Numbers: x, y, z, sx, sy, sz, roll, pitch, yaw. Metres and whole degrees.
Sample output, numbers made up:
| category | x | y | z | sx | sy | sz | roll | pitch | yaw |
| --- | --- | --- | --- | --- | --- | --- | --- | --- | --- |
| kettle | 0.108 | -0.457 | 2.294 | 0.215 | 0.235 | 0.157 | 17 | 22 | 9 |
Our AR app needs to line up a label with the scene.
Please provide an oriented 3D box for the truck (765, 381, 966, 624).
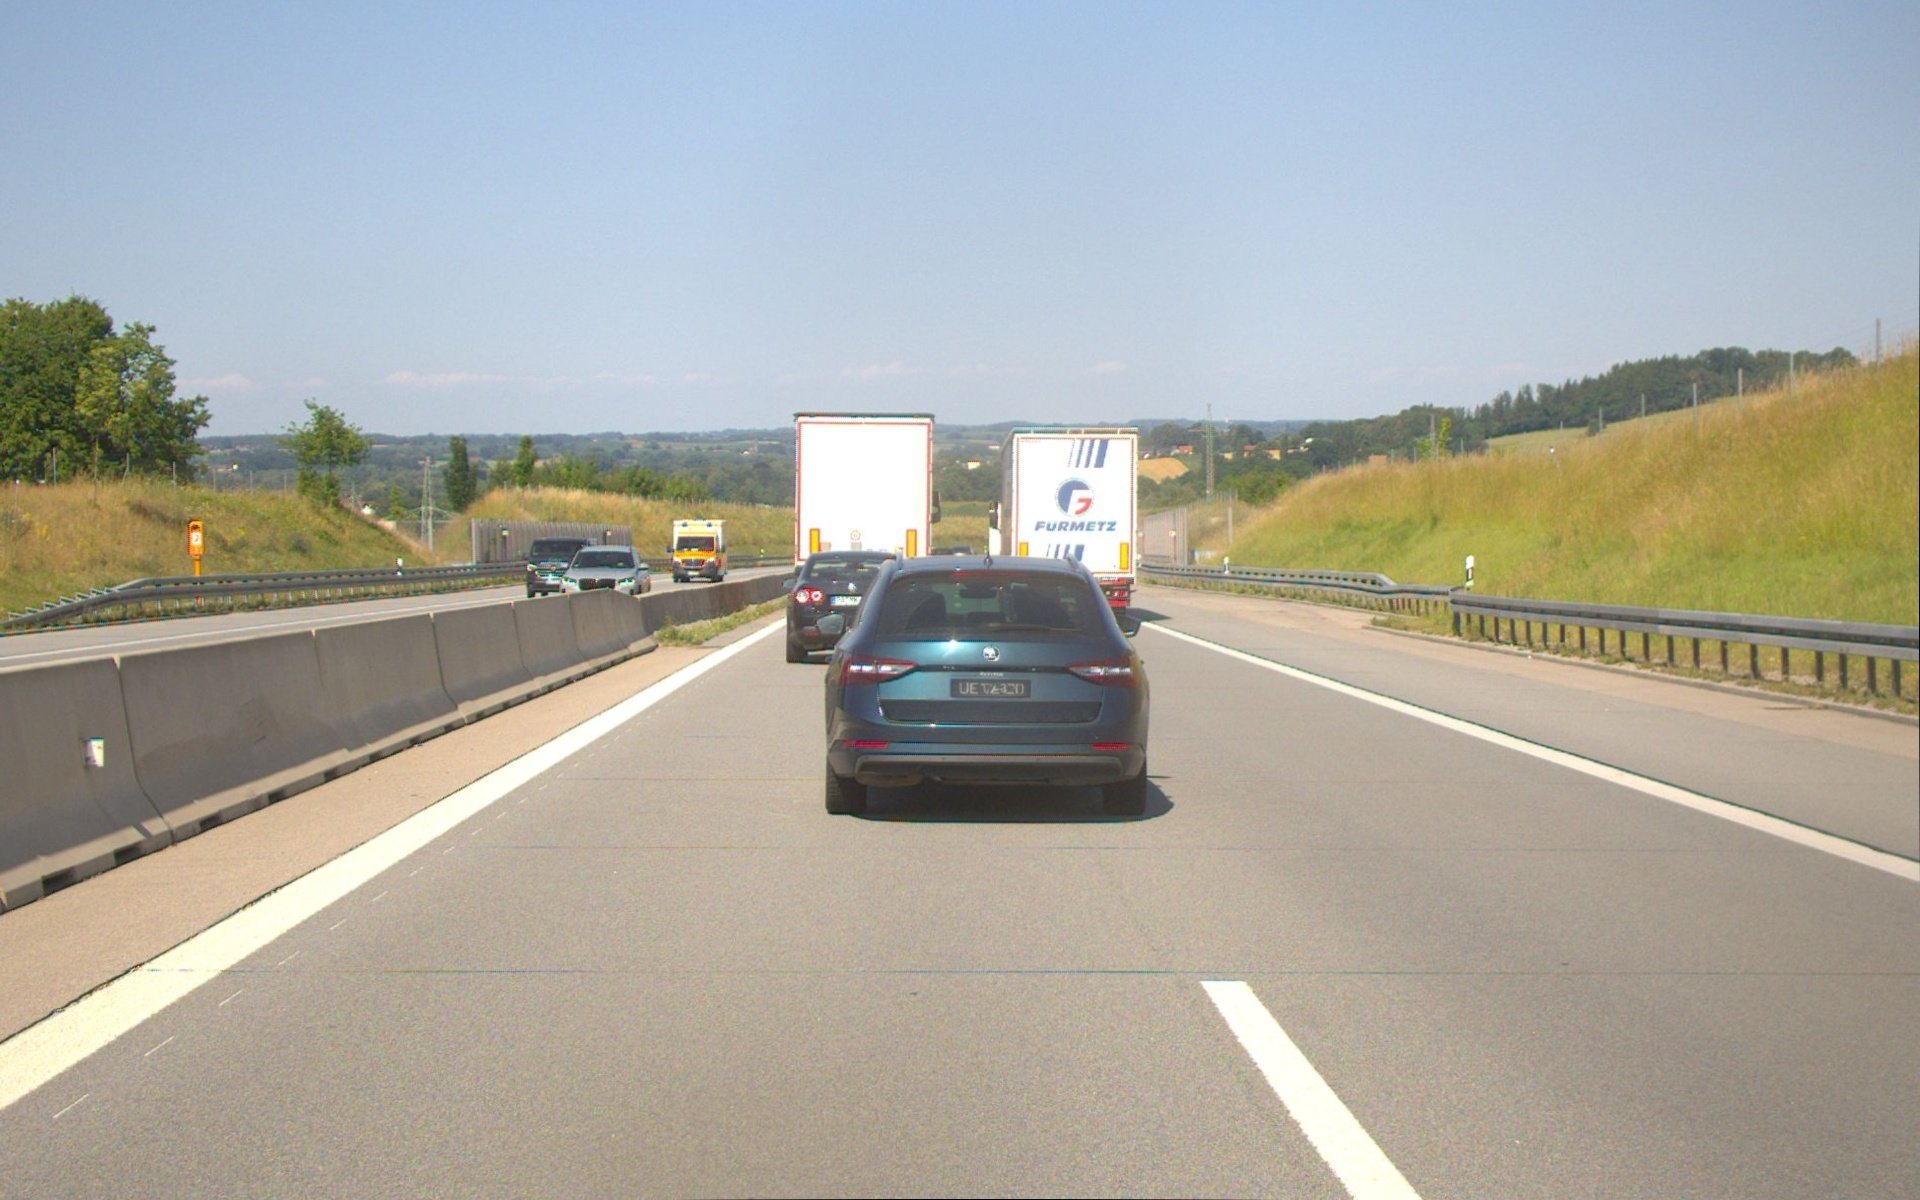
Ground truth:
| category | x | y | z | sx | sy | sz | roll | pitch | yaw |
| --- | --- | --- | --- | --- | --- | --- | --- | --- | --- |
| truck | -1.734 | -1.926 | 69.226 | 3.211 | 4.366 | 11.233 | -2 | 1 | 2 |

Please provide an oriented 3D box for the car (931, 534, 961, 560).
| category | x | y | z | sx | sy | sz | roll | pitch | yaw |
| --- | --- | --- | --- | --- | --- | --- | --- | --- | --- |
| car | -0.791 | -3.056 | 198.297 | 1.700 | 1.436 | 4.000 | 0 | 1 | 0 |

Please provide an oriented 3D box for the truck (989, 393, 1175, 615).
| category | x | y | z | sx | sy | sz | roll | pitch | yaw |
| --- | --- | --- | --- | --- | --- | --- | --- | --- | --- |
| truck | 2.629 | -2.072 | 75.443 | 3.604 | 4.366 | 11.233 | -2 | 1 | 2 |

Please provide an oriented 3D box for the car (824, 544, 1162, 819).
| category | x | y | z | sx | sy | sz | roll | pitch | yaw |
| --- | --- | --- | --- | --- | --- | --- | --- | --- | --- |
| car | 0.101 | 0.401 | 19.991 | 1.776 | 1.436 | 3.789 | 0 | 1 | -2 |

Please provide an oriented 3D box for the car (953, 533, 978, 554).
| category | x | y | z | sx | sy | sz | roll | pitch | yaw |
| --- | --- | --- | --- | --- | --- | --- | --- | --- | --- |
| car | 0.356 | -3.879 | 237.413 | 1.700 | 1.436 | 4.000 | 0 | 1 | 0 |

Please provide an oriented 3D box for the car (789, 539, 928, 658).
| category | x | y | z | sx | sy | sz | roll | pitch | yaw |
| --- | --- | --- | --- | --- | --- | --- | --- | --- | --- |
| car | -1.350 | -0.053 | 45.281 | 1.700 | 1.436 | 4.001 | -2 | 1 | -2 |

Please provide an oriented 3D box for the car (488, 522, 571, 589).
| category | x | y | z | sx | sy | sz | roll | pitch | yaw |
| --- | --- | --- | --- | --- | --- | --- | --- | --- | --- |
| car | -13.258 | -1.395 | 106.161 | 1.993 | 2.007 | 4.970 | 1 | 1 | -1 |

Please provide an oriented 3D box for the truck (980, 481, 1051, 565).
| category | x | y | z | sx | sy | sz | roll | pitch | yaw |
| --- | --- | --- | --- | --- | --- | --- | --- | --- | --- |
| truck | 3.079 | -4.211 | 188.583 | 3.604 | 4.366 | 11.233 | -2 | 1 | 2 |

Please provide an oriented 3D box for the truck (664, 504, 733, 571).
| category | x | y | z | sx | sy | sz | roll | pitch | yaw |
| --- | --- | --- | --- | --- | --- | --- | --- | --- | --- |
| truck | -12.000 | -2.870 | 158.111 | 2.774 | 3.011 | 6.793 | 0 | 1 | -1 |

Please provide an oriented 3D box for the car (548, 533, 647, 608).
| category | x | y | z | sx | sy | sz | roll | pitch | yaw |
| --- | --- | --- | --- | --- | --- | --- | --- | --- | --- |
| car | -8.699 | -0.734 | 82.869 | 1.931 | 1.726 | 4.886 | 1 | 1 | -1 |
